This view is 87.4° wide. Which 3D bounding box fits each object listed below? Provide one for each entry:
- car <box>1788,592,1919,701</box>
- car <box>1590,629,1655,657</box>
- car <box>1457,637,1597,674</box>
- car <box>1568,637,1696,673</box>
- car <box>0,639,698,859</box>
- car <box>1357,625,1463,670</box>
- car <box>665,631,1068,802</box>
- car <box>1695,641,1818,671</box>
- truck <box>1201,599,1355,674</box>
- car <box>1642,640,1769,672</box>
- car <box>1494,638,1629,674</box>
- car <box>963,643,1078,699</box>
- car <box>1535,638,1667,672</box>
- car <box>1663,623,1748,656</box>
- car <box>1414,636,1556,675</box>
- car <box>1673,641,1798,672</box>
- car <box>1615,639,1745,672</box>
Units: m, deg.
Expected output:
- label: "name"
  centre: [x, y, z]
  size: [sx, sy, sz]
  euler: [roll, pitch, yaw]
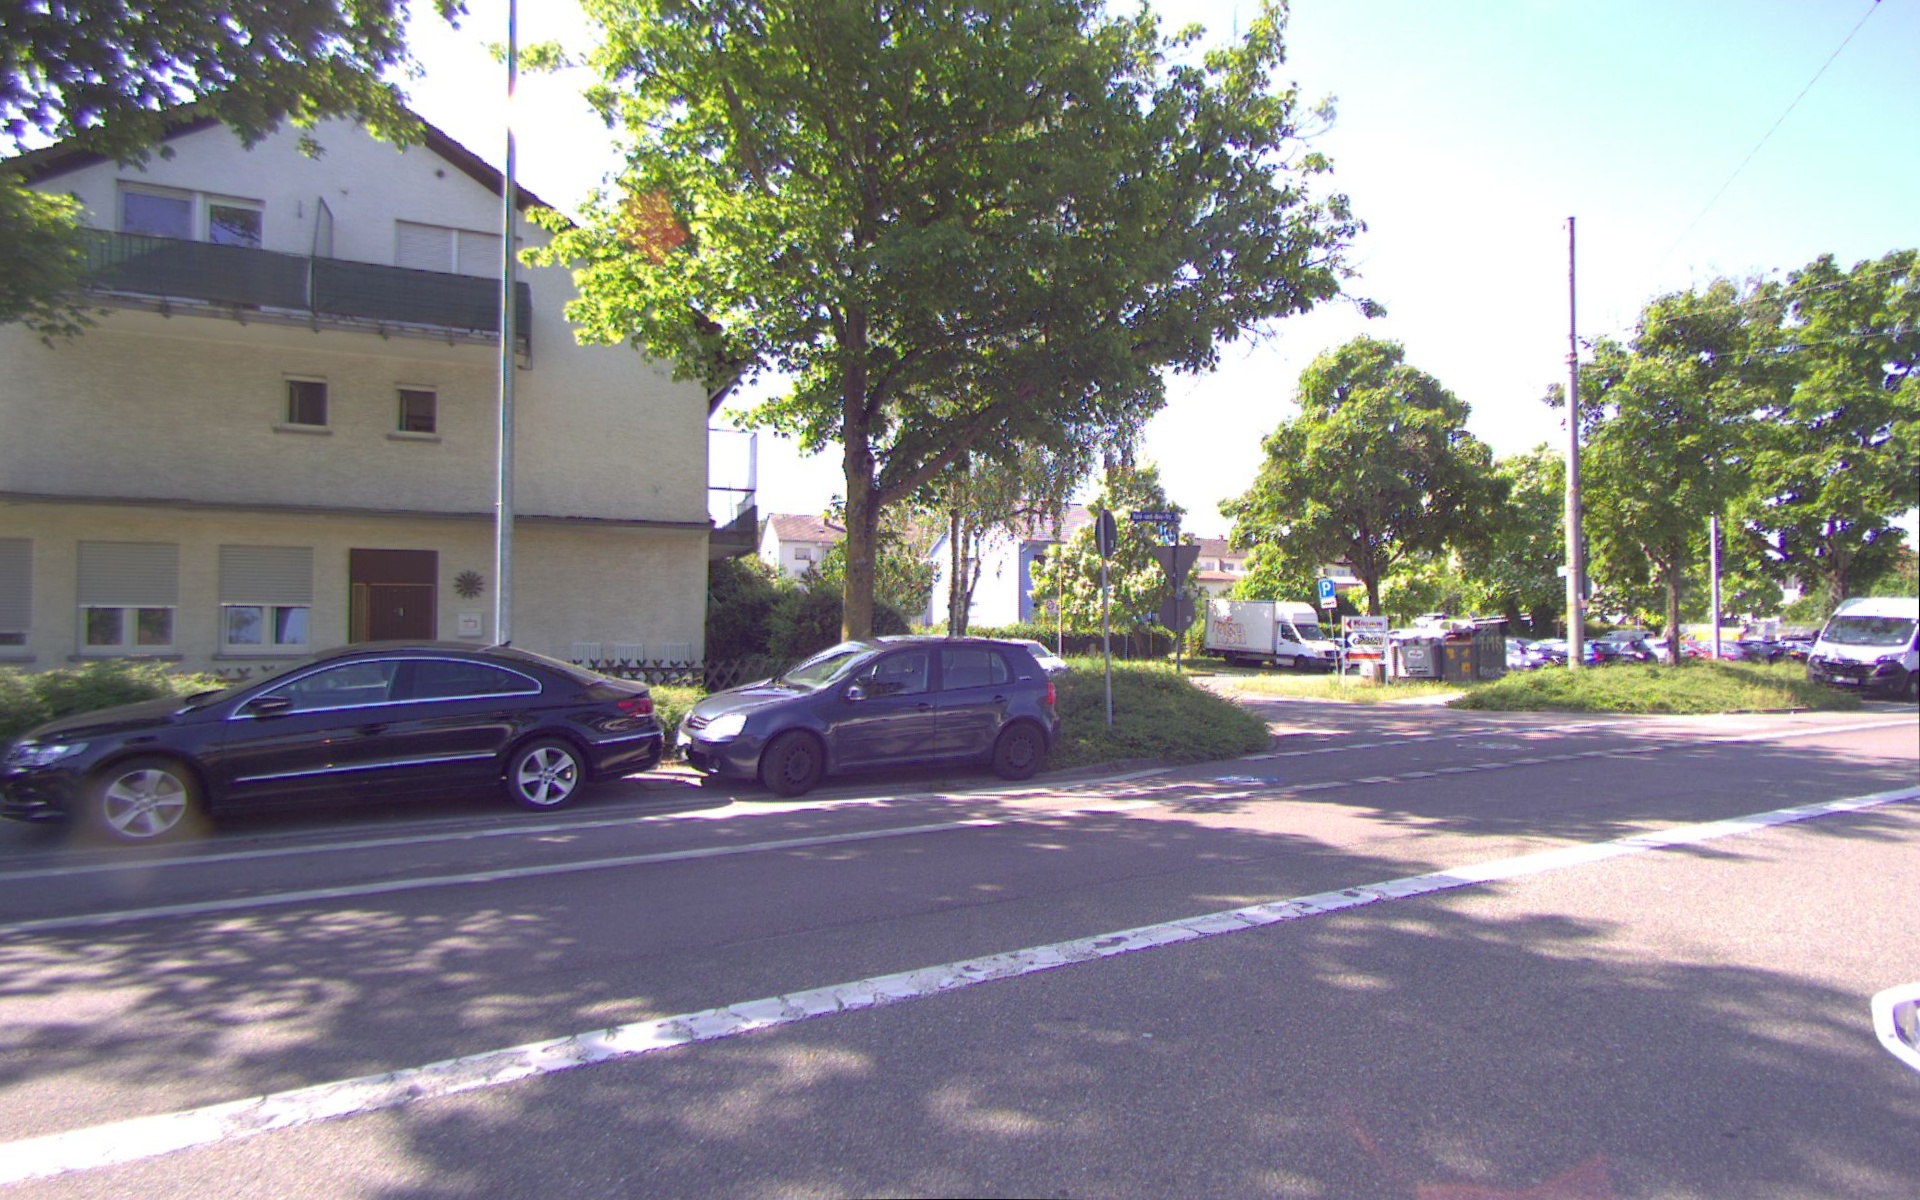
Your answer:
- label: "car"
  centre: [24.286, 1.141, 26.047]
  size: [6.227, 2.534, 2.050]
  euler: [1, 1, -28]
- label: "car"
  centre: [45.292, 2.938, 68.697]
  size: [1.535, 1.901, 3.406]
  euler: [1, -2, -31]
- label: "car"
  centre: [19.967, 1.925, 35.524]
  size: [1.751, 1.241, 3.967]
  euler: [1, -2, -31]
- label: "car"
  centre: [26.951, 2.169, 40.424]
  size: [1.748, 1.368, 3.973]
  euler: [1, -2, -27]
- label: "car"
  centre: [-4.820, 1.063, 8.585]
  size: [4.727, 1.398, 1.682]
  euler: [1, -1, -31]
- label: "car"
  centre: [23.279, 2.416, 52.148]
  size: [1.980, 2.040, 4.663]
  euler: [2, 0, -34]
- label: "car"
  centre: [-0.945, 1.113, 10.708]
  size: [3.956, 1.470, 1.634]
  euler: [1, 0, -29]
- label: "car"
  centre: [35.622, 2.481, 45.033]
  size: [1.748, 1.241, 3.973]
  euler: [1, -2, -27]
- label: "truck"
  centre: [14.663, 1.599, 46.886]
  size: [2.206, 3.059, 7.103]
  euler: [1, 1, -31]
- label: "car"
  centre: [31.490, 2.330, 42.532]
  size: [1.748, 1.241, 3.973]
  euler: [1, -2, -27]
- label: "car"
  centre: [22.142, 2.019, 37.139]
  size: [1.748, 1.241, 3.973]
  euler: [1, -2, -27]
- label: "car"
  centre: [1.641, 1.957, 28.658]
  size: [1.687, 1.437, 3.979]
  euler: [1, -2, -23]
- label: "car"
  centre: [24.747, 2.092, 38.925]
  size: [1.748, 1.241, 3.973]
  euler: [1, -2, -27]
- label: "car"
  centre: [50.999, 2.663, 68.774]
  size: [1.980, 2.040, 4.228]
  euler: [2, 0, -35]
- label: "car"
  centre: [17.820, 1.837, 34.276]
  size: [1.751, 1.241, 3.967]
  euler: [1, -2, -31]
- label: "car"
  centre: [33.767, 2.421, 43.858]
  size: [1.748, 1.241, 3.973]
  euler: [1, -2, -27]
- label: "car"
  centre: [29.343, 2.234, 41.053]
  size: [1.748, 1.281, 3.973]
  euler: [1, -2, -27]
